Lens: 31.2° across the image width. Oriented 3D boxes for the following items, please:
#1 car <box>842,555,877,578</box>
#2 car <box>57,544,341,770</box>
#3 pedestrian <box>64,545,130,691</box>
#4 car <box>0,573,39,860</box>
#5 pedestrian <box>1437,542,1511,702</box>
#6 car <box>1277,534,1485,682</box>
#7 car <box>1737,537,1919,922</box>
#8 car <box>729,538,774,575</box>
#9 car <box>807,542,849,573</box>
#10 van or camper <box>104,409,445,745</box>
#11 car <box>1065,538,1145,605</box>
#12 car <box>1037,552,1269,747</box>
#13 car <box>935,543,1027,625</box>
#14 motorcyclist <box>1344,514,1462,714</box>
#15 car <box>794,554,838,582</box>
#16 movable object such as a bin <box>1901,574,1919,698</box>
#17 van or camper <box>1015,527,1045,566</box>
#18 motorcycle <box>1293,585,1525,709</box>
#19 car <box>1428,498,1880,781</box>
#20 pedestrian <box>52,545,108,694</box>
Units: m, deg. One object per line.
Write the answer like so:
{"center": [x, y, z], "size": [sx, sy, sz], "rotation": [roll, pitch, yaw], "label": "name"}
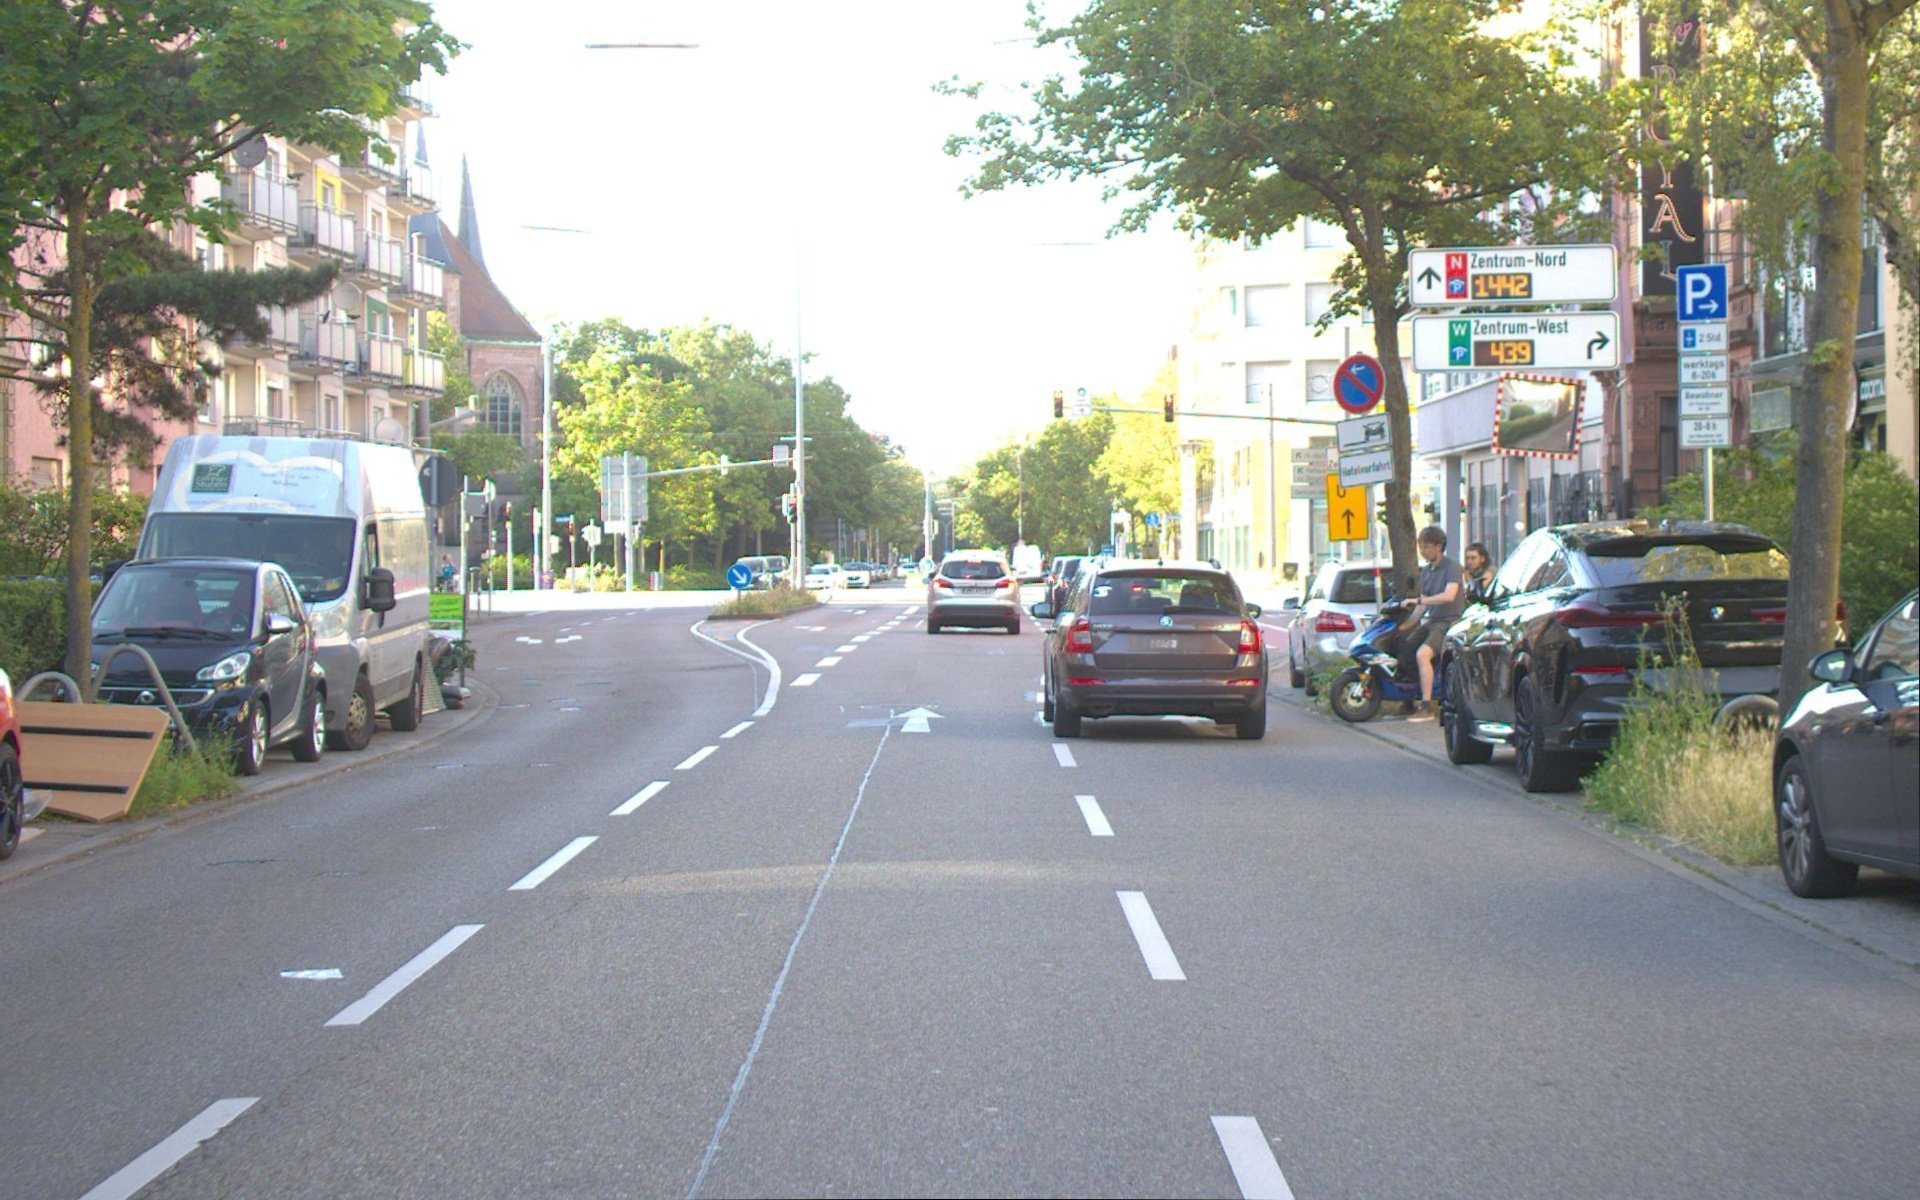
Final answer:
{"center": [-5.563, -1.856, 190.438], "size": [1.780, 1.232, 4.000], "rotation": [-1, 1, 1], "label": "car"}
{"center": [-5.589, 0.376, 25.485], "size": [1.404, 1.543, 2.762], "rotation": [1, 1, 2], "label": "car"}
{"center": [-9.879, 0.203, 39.370], "size": [0.604, 1.646, 0.697], "rotation": [-1, 1, -6], "label": "pedestrian"}
{"center": [-5.751, 0.629, 16.307], "size": [1.717, 1.447, 3.923], "rotation": [0, 1, 0], "label": "car"}
{"center": [4.650, 0.191, 31.131], "size": [0.438, 1.425, 0.704], "rotation": [-1, 1, -11], "label": "pedestrian"}
{"center": [4.707, 0.041, 38.997], "size": [1.856, 1.507, 4.834], "rotation": [-2, 1, 2], "label": "car"}
{"center": [4.557, 0.486, 13.771], "size": [1.716, 1.467, 4.432], "rotation": [-2, 1, -2], "label": "car"}
{"center": [-9.733, -2.045, 160.646], "size": [1.780, 1.641, 4.000], "rotation": [-1, 1, 1], "label": "car"}
{"center": [-6.378, -2.073, 166.622], "size": [1.780, 1.459, 4.000], "rotation": [-1, 1, 1], "label": "car"}
{"center": [-5.954, -0.236, 30.619], "size": [2.035, 2.654, 6.017], "rotation": [1, 1, -3], "label": "van or camper"}
{"center": [3.264, -0.670, 78.180], "size": [1.650, 1.479, 4.239], "rotation": [0, 1, 0], "label": "car"}
{"center": [1.542, 0.358, 28.756], "size": [1.707, 1.452, 4.159], "rotation": [1, 1, 0], "label": "car"}
{"center": [0.409, -0.333, 66.111], "size": [1.707, 1.504, 4.309], "rotation": [0, 1, 0], "label": "car"}
{"center": [4.018, 0.118, 31.248], "size": [0.736, 1.772, 1.088], "rotation": [-1, 1, -11], "label": "motorcyclist"}
{"center": [-6.699, -1.498, 160.062], "size": [1.780, 1.232, 4.000], "rotation": [-1, 1, 1], "label": "car"}
{"center": [8.433, 0.303, 29.786], "size": [0.494, 1.055, 0.547], "rotation": [-1, 1, 13], "label": "movable object such as a bin"}
{"center": [4.860, -3.733, 239.391], "size": [1.993, 2.631, 5.350], "rotation": [-1, 1, 2], "label": "van or camper"}
{"center": [4.085, 0.417, 31.320], "size": [1.925, 1.067, 0.820], "rotation": [-1, 1, -11], "label": "motorcycle"}
{"center": [4.434, 0.189, 22.734], "size": [1.947, 1.649, 4.796], "rotation": [-1, 1, -1], "label": "car"}
{"center": [-9.873, 0.212, 38.593], "size": [0.480, 1.646, 0.725], "rotation": [-1, 1, -6], "label": "pedestrian"}
